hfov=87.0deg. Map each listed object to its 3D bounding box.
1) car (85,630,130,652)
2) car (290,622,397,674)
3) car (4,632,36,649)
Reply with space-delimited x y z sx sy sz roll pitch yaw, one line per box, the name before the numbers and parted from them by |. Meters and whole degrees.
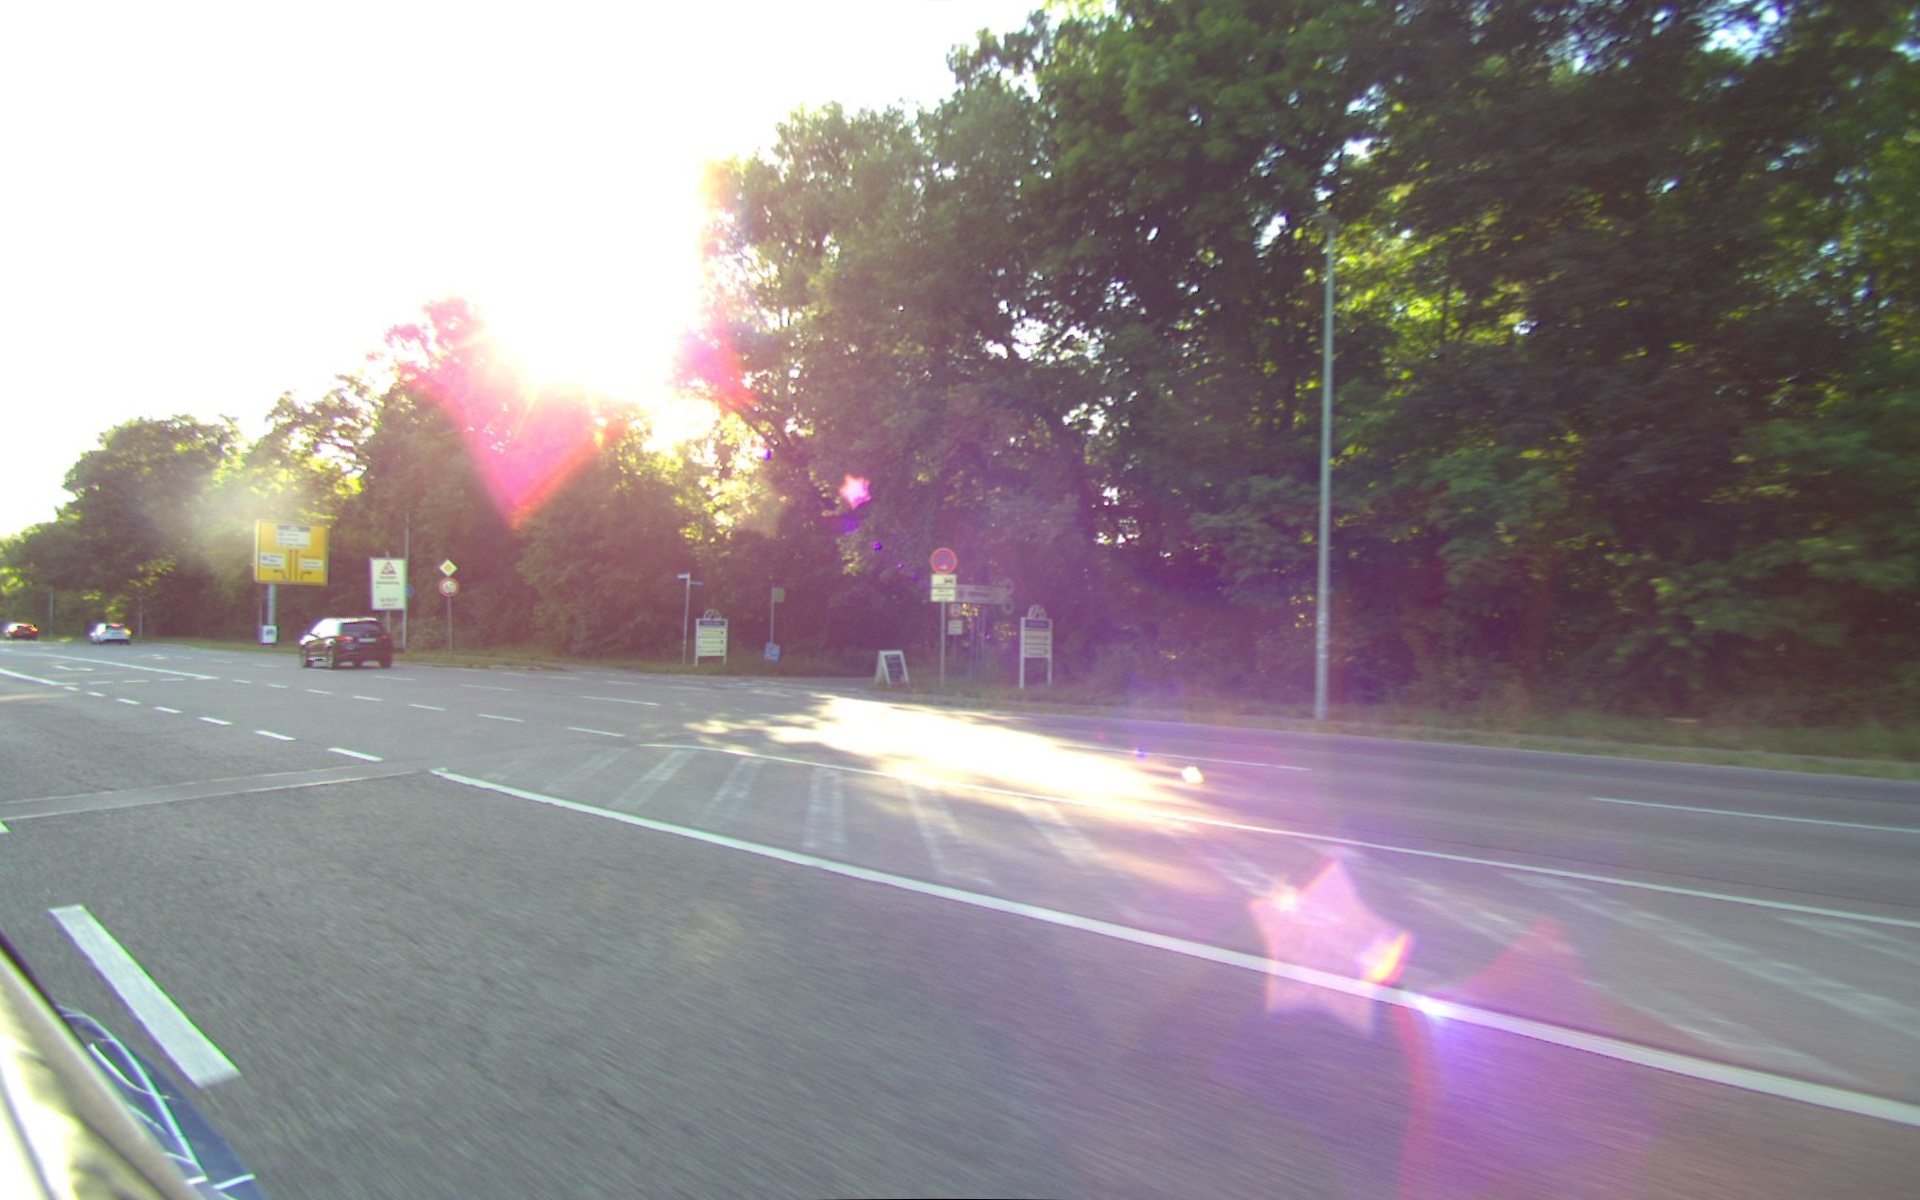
car | -60.030 2.875 71.250 4.304 1.516 1.805 -2 -3 41
car | -20.446 1.564 33.491 4.349 1.601 1.805 -2 -3 41
car | -85.026 3.657 91.566 4.256 1.556 1.805 -2 -3 43
